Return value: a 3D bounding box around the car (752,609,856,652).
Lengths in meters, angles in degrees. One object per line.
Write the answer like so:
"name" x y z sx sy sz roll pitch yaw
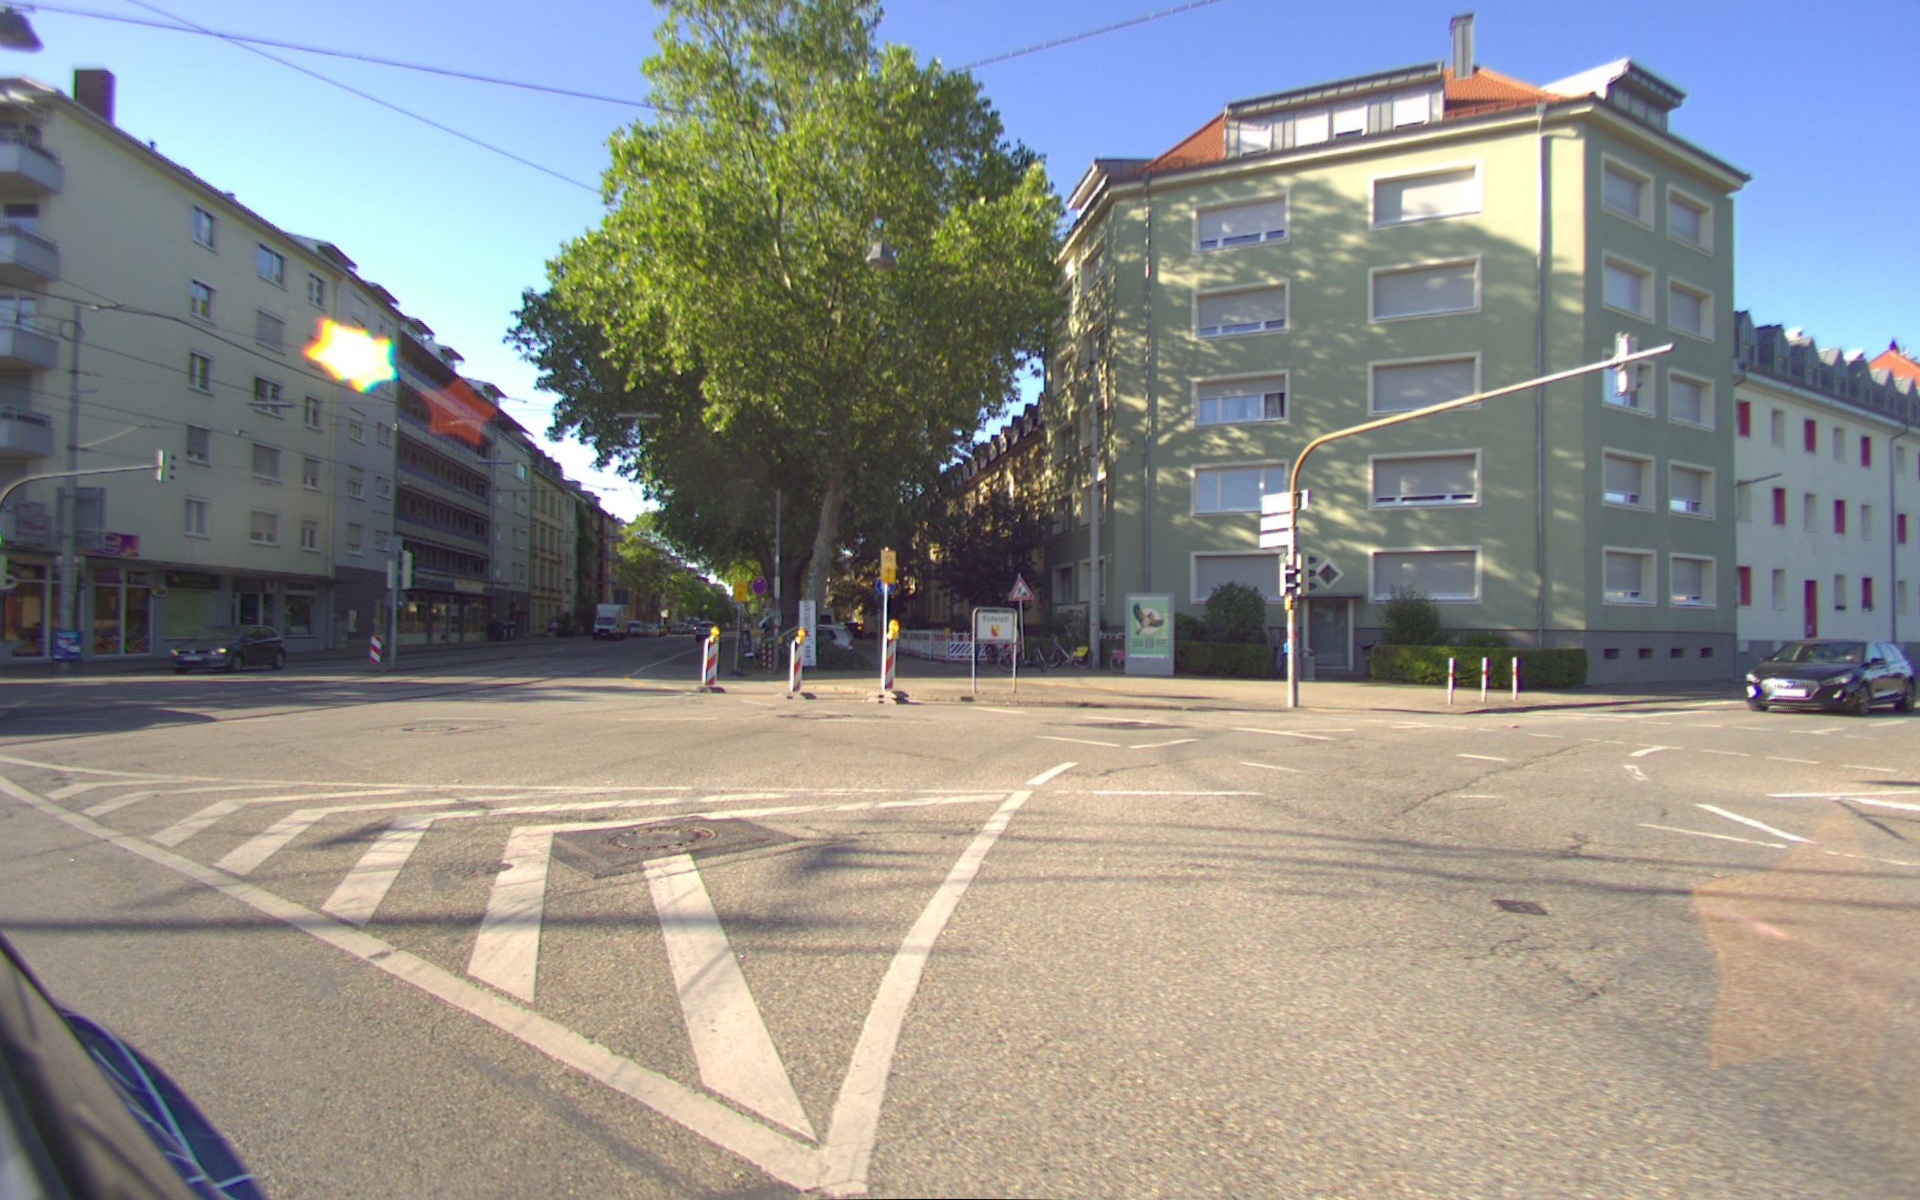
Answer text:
"car" -6.372 1.224 41.319 4.082 1.653 1.778 -1 0 -10

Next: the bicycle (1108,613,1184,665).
"bicycle" 5.412 1.106 29.442 2.039 1.390 0.769 2 0 23

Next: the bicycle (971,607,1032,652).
"bicycle" 1.420 1.019 35.115 2.023 1.473 0.726 2 0 -2

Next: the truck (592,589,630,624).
"truck" -31.131 0.565 90.379 2.305 2.995 8.052 -1 0 -13

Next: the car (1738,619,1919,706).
"car" 17.180 1.194 19.538 4.135 1.505 1.948 2 -4 -30

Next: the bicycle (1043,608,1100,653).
"bicycle" 3.655 0.993 33.431 0.762 1.390 2.059 2 0 -31

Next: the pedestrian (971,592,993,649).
"pedestrian" 0.782 0.723 36.103 0.687 1.978 0.928 -1 0 -2

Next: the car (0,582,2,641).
"car" -15.574 0.620 14.769 1.911 1.948 4.532 2 -2 -39

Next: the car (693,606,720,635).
"car" -21.238 1.703 84.888 1.937 2.286 4.432 -1 0 -11

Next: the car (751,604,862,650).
"car" -5.894 1.018 38.853 4.082 1.653 1.778 -1 0 -10

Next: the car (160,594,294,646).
"car" -22.127 0.605 30.713 1.677 1.452 3.651 -1 -1 -6

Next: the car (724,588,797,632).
"car" -12.396 0.610 62.893 4.350 2.647 1.974 -1 0 -10

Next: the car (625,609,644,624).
"car" -34.377 1.749 106.963 1.674 1.452 3.655 -1 -1 -13
